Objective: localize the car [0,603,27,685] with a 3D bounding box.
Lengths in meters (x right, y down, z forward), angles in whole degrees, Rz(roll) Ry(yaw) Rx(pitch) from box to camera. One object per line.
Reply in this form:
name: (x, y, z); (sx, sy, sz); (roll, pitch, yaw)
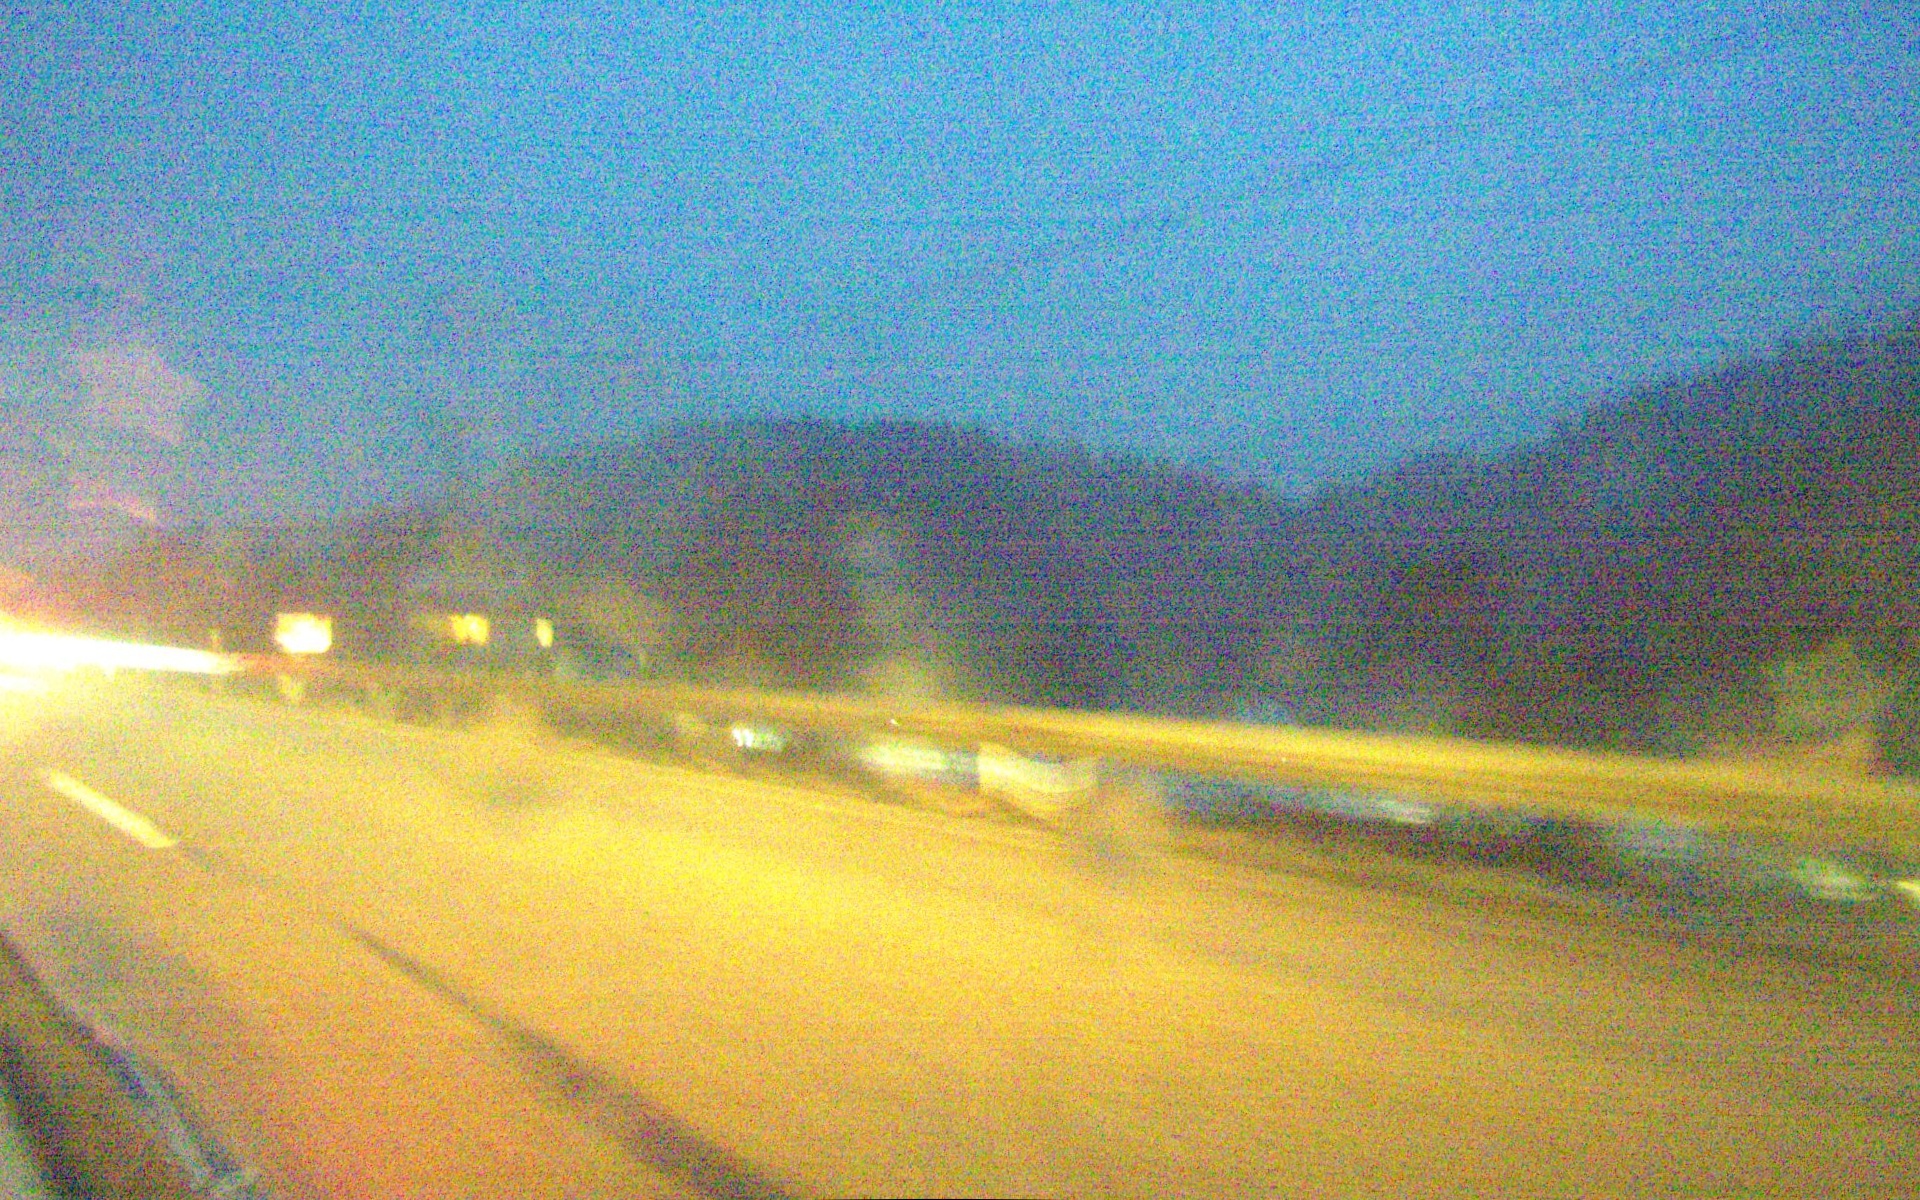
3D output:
car: (-24.131, 1.042, 24.254); (4.901, 1.863, 1.974); (-1, 0, 40)
